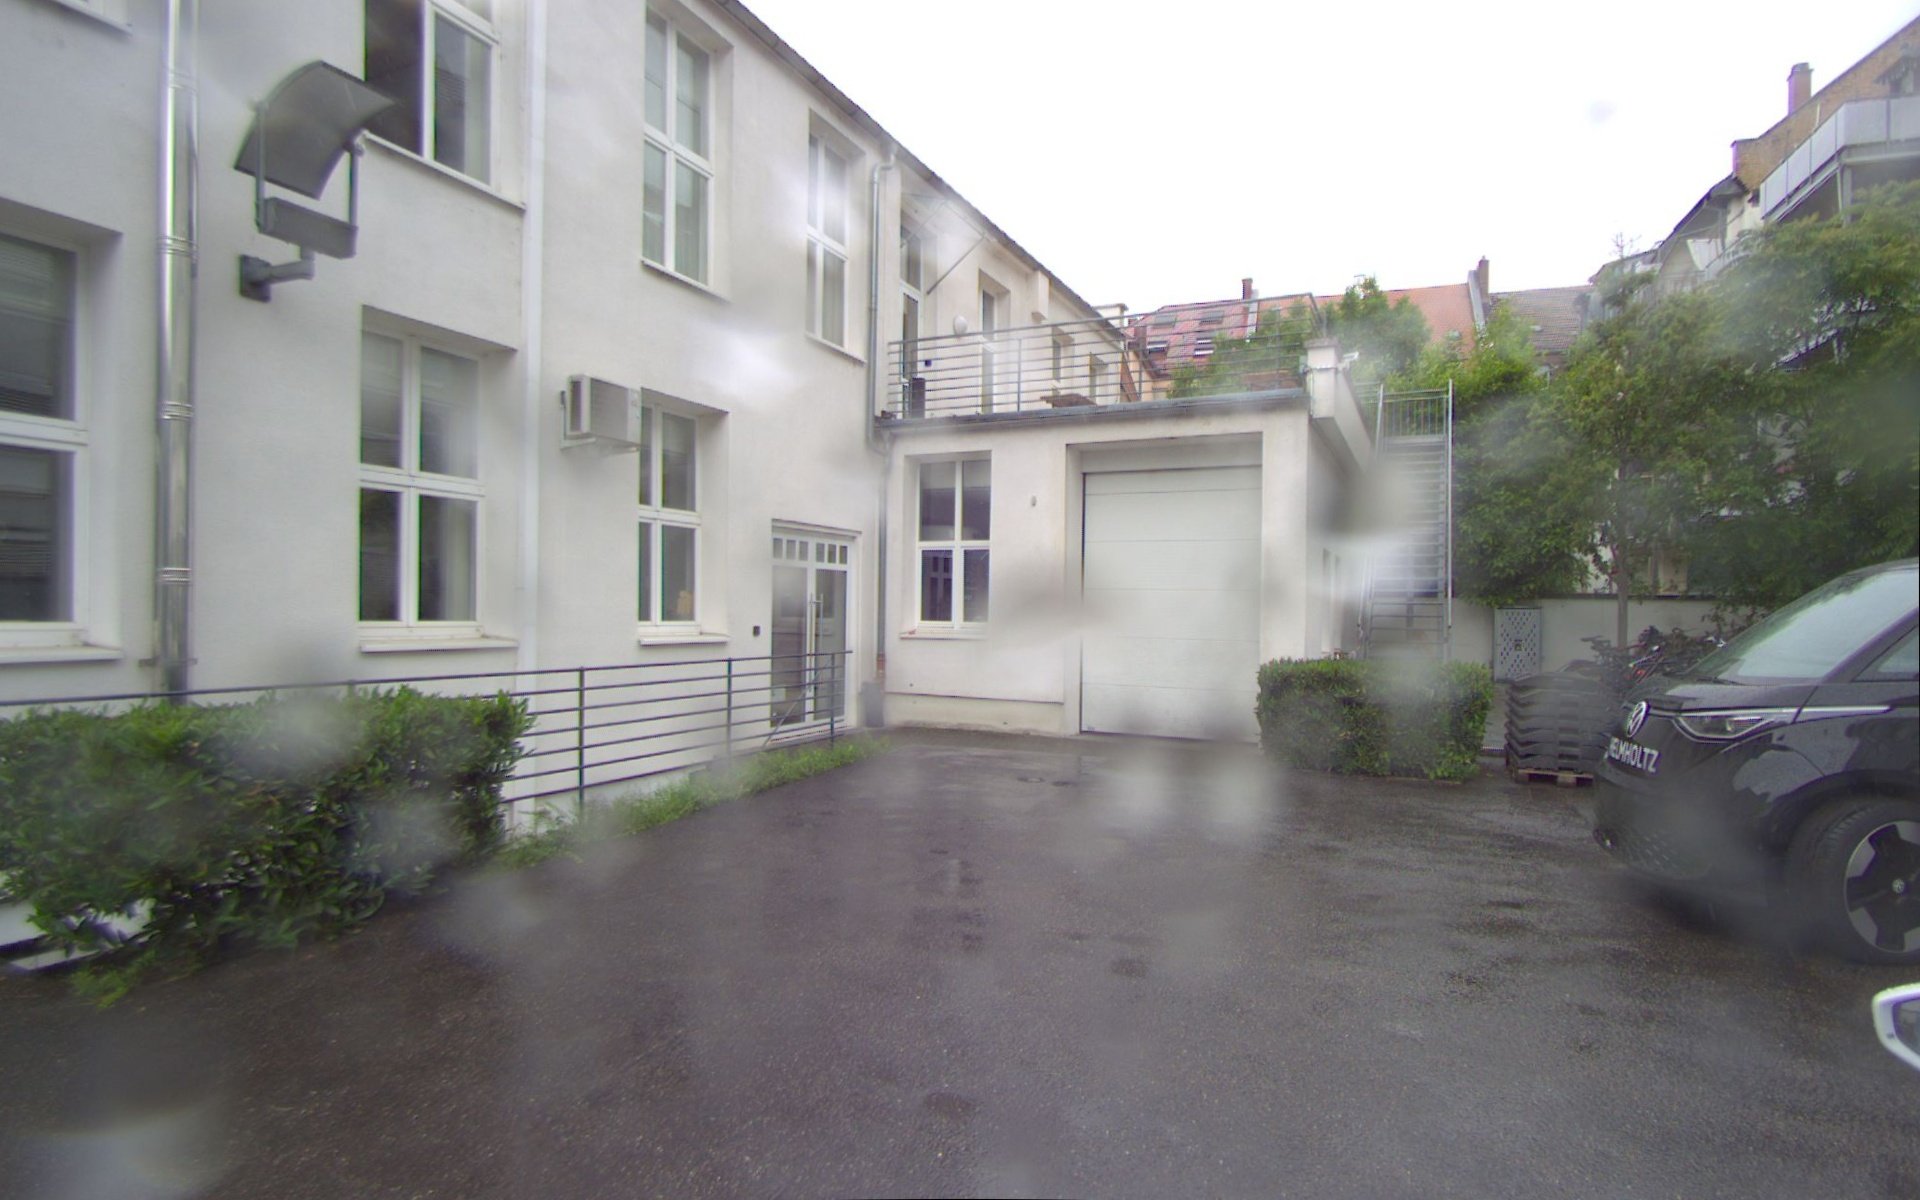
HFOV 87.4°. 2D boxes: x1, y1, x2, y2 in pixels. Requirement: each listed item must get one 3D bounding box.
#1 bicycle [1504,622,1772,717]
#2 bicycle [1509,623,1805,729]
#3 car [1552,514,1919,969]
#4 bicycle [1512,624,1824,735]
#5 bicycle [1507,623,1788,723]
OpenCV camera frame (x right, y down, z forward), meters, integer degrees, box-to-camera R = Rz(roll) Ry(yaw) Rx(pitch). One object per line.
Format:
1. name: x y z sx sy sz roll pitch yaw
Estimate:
1. bicycle: 9.720 0.969 14.581 3.162 1.258 0.631 0 -1 23
2. bicycle: 9.156 0.966 13.383 3.162 1.258 0.631 0 -1 23
3. car: 5.623 0.630 4.821 4.432 1.922 2.047 0 -1 18
4. bicycle: 8.848 0.964 12.754 3.162 1.258 0.631 0 -1 23
5. bicycle: 9.445 0.968 13.990 3.162 1.258 0.631 0 -1 23
